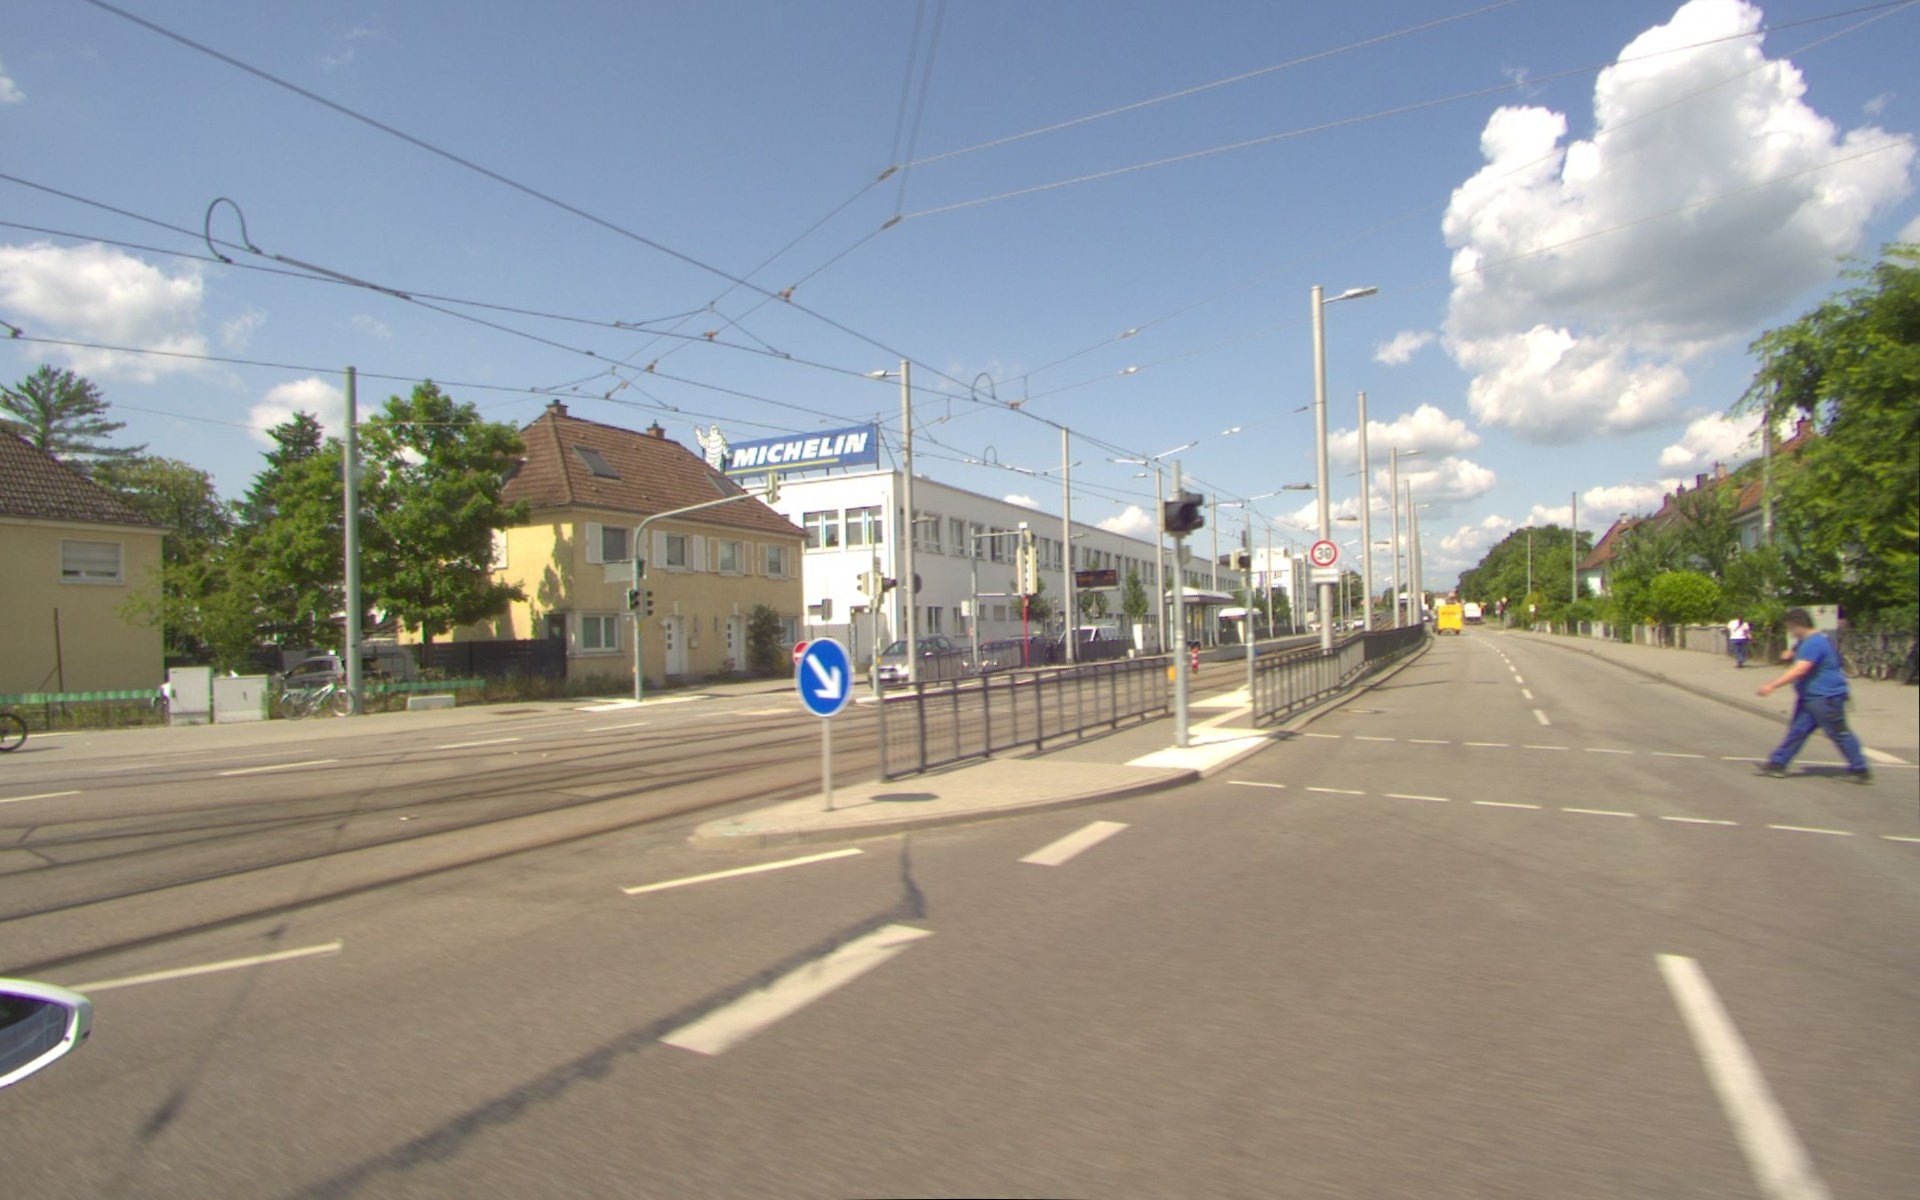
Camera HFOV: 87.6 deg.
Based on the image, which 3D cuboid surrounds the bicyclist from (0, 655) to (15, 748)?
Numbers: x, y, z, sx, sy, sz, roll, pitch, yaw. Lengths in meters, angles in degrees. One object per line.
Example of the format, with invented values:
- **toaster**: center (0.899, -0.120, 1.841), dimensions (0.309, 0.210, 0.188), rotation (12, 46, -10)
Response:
- **bicyclist**: center (-18.948, 1.971, 19.210), dimensions (0.705, 1.797, 0.960), rotation (-2, -1, 5)

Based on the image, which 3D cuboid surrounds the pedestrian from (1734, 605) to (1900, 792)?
- **pedestrian**: center (8.562, 0.943, 10.070), dimensions (1.025, 1.757, 1.029), rotation (-1, -1, 27)

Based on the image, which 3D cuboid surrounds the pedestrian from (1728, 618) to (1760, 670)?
- **pedestrian**: center (21.987, 1.235, 28.079), dimensions (0.679, 1.451, 0.511), rotation (-2, -1, 39)

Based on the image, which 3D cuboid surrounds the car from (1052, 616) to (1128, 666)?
- **car**: center (6.114, 1.869, 46.610), dimensions (1.787, 2.187, 4.827), rotation (-2, -2, 29)

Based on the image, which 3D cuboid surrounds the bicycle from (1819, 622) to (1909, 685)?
- **bicycle**: center (20.448, 1.173, 22.726), dimensions (0.613, 1.351, 2.794), rotation (-1, -1, 23)

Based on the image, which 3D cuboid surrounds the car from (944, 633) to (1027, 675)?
- **car**: center (0.996, 1.987, 37.418), dimensions (1.552, 1.464, 3.707), rotation (-2, -2, 29)

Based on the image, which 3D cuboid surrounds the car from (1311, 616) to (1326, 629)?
- **car**: center (60.691, 3.858, 169.405), dimensions (1.967, 2.039, 3.990), rotation (-1, -3, 24)

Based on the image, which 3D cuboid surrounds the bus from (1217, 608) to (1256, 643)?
- **bus**: center (26.324, 2.434, 95.044), dimensions (2.468, 3.161, 6.635), rotation (-2, -2, 25)

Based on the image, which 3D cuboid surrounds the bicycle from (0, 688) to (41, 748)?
- **bicycle**: center (-18.941, 2.302, 19.183), dimensions (0.701, 1.116, 2.034), rotation (-2, -2, 4)

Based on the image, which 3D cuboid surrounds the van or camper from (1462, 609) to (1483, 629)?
- **van or camper**: center (90.529, 3.389, 177.021), dimensions (2.959, 3.249, 7.105), rotation (-1, -3, 25)

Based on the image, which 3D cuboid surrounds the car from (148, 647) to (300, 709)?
- **car**: center (-21.751, 2.309, 29.599), dimensions (3.933, 1.641, 1.824), rotation (-3, -2, 22)

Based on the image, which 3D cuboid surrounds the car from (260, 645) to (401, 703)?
- **car**: center (-20.001, 2.349, 31.823), dimensions (3.933, 1.641, 1.824), rotation (-3, -2, 22)

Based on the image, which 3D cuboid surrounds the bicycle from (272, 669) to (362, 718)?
- **bicycle**: center (-16.274, 2.357, 25.392), dimensions (1.777, 1.119, 0.701), rotation (-1, -1, -20)

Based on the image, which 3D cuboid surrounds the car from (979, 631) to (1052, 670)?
- **car**: center (2.671, 2.377, 47.663), dimensions (1.910, 1.714, 3.983), rotation (-2, -2, 29)

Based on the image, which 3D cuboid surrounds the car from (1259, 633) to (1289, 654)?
- **car**: center (28.396, 3.923, 90.406), dimensions (1.968, 1.905, 3.988), rotation (-2, -3, 26)

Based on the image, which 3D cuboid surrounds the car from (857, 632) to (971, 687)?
- **car**: center (-1.391, 1.847, 31.910), dimensions (1.814, 1.588, 3.983), rotation (-2, -2, 29)

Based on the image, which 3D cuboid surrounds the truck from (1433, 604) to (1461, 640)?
- **truck**: center (48.201, 2.260, 99.249), dimensions (2.152, 3.448, 7.213), rotation (-1, -3, 24)
